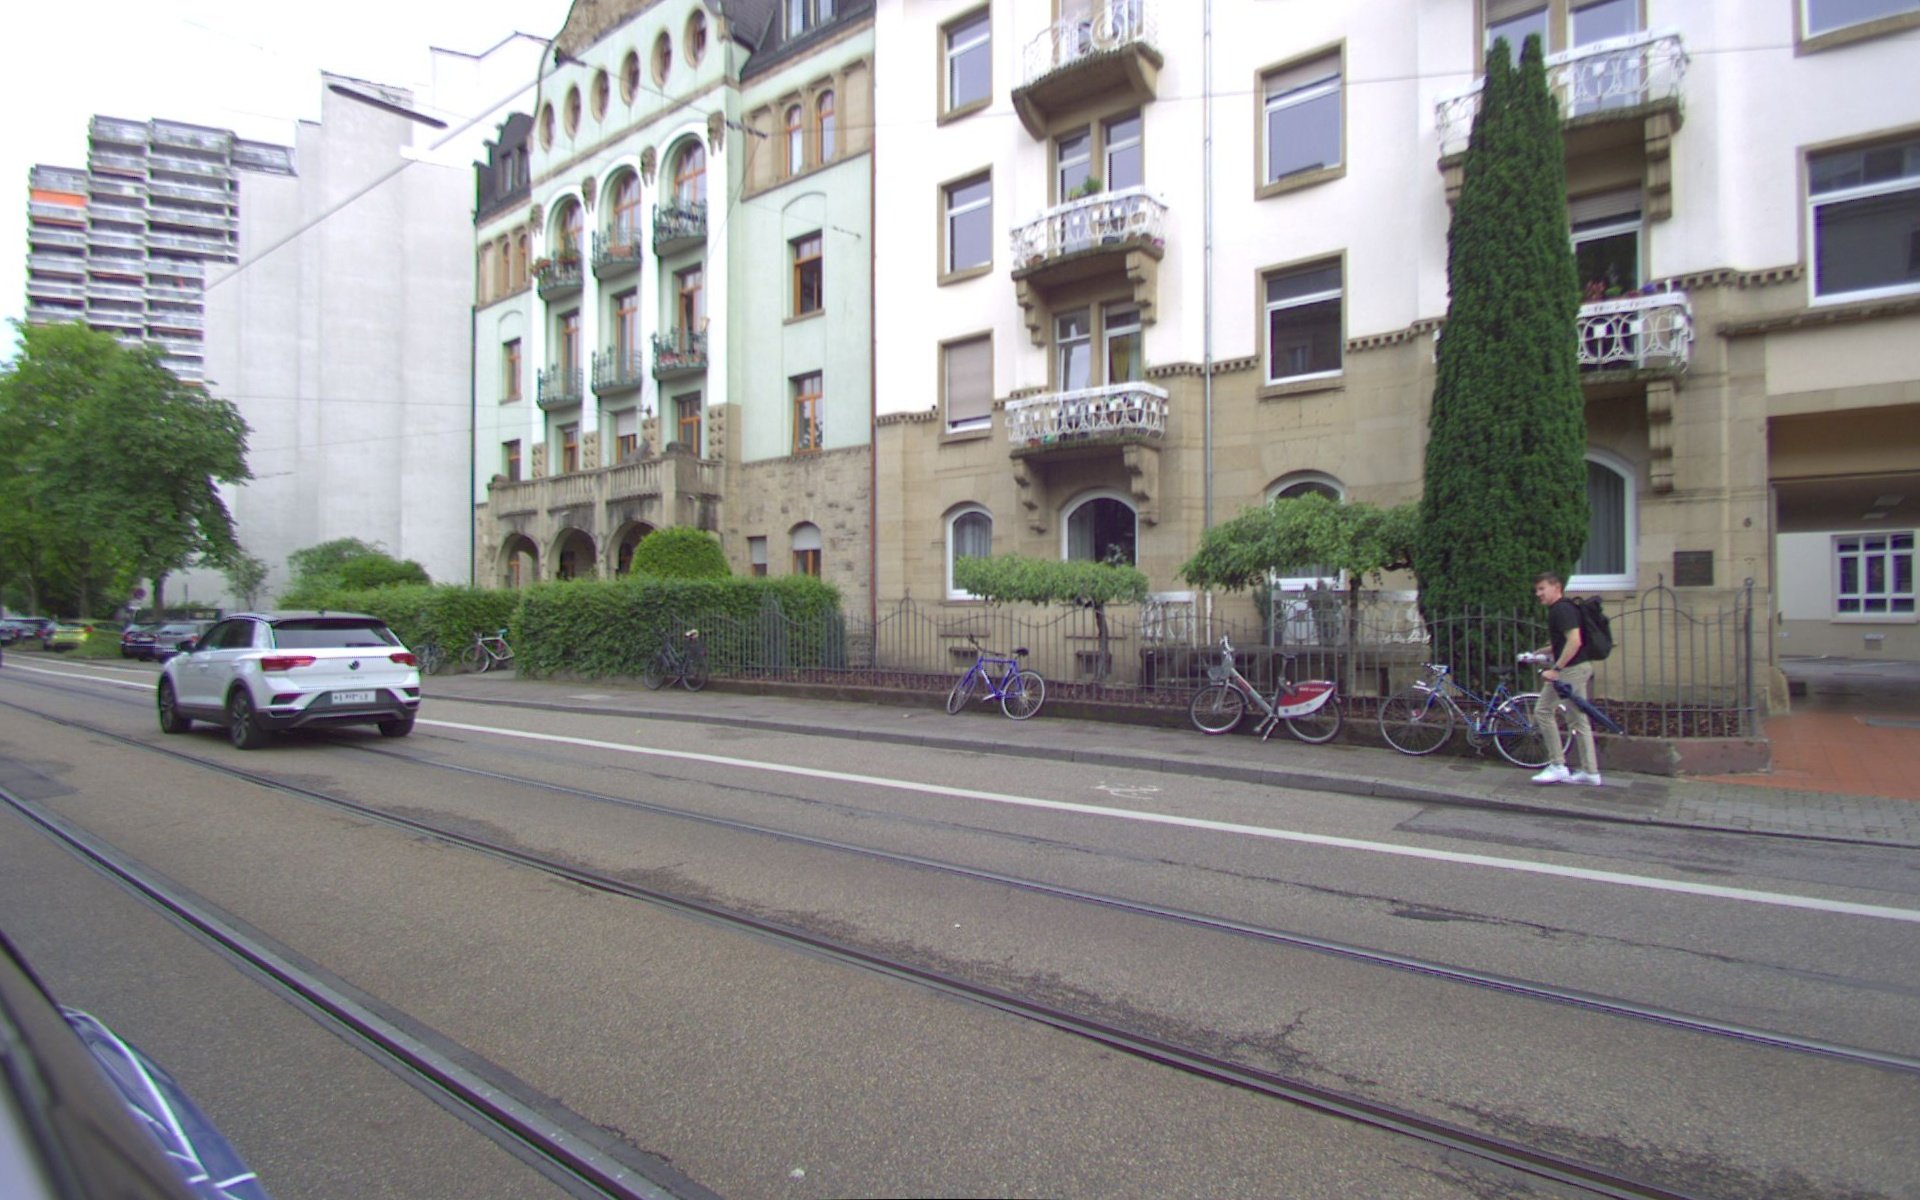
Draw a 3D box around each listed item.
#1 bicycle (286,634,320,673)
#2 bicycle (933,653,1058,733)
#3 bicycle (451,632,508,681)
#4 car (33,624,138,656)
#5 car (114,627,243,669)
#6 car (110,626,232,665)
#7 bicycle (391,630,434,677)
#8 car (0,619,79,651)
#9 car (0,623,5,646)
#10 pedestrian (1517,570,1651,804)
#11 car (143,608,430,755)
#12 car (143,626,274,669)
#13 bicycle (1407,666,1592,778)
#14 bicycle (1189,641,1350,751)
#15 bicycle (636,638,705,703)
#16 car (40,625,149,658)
[{"bbox_3d":[-18.946,1.520,29.172,1.545,1.092,0.356,-1,-2,39],"label":"bicycle"},{"bbox_3d":[0.455,1.219,13.501,1.660,0.935,0.354,-2,-21,41],"label":"bicycle"},{"bbox_3d":[-11.504,1.336,24.258,0.300,1.091,1.190,-1,1,40],"label":"bicycle"},{"bbox_3d":[-41.025,1.857,47.597,1.670,1.453,4.004,0,-1,-5],"label":"car"},{"bbox_3d":[-28.486,1.720,37.061,1.671,1.413,4.000,0,-1,-1],"label":"car"},{"bbox_3d":[-30.638,1.733,39.438,1.671,1.413,4.000,0,-1,-1],"label":"car"},{"bbox_3d":[-13.256,1.277,24.486,1.545,1.092,0.356,-1,-2,39],"label":"bicycle"},{"bbox_3d":[-48.891,1.817,53.316,1.670,1.632,4.004,0,-1,-5],"label":"car"},{"bbox_3d":[-66.837,2.337,68.049,1.670,1.632,4.004,0,-1,-5],"label":"car"},{"bbox_3d":[5.290,0.705,8.584,0.881,1.858,0.661,-1,-2,38],"label":"pedestrian"},{"bbox_3d":[-8.227,0.890,12.255,3.924,1.508,1.682,-1,-3,37],"label":"car"},{"bbox_3d":[-26.177,1.630,35.420,1.671,1.413,4.000,0,-1,-1],"label":"car"},{"bbox_3d":[5.093,1.125,9.620,1.513,0.945,0.329,-1,-2,39],"label":"bicycle"},{"bbox_3d":[3.323,1.006,10.937,1.617,1.110,0.382,-1,-2,28],"label":"bicycle"},{"bbox_3d":[-5.134,1.229,17.928,1.545,1.092,0.356,-1,-2,39],"label":"bicycle"},{"bbox_3d":[-38.802,1.850,45.498,1.670,1.405,4.004,0,-1,-5],"label":"car"}]
